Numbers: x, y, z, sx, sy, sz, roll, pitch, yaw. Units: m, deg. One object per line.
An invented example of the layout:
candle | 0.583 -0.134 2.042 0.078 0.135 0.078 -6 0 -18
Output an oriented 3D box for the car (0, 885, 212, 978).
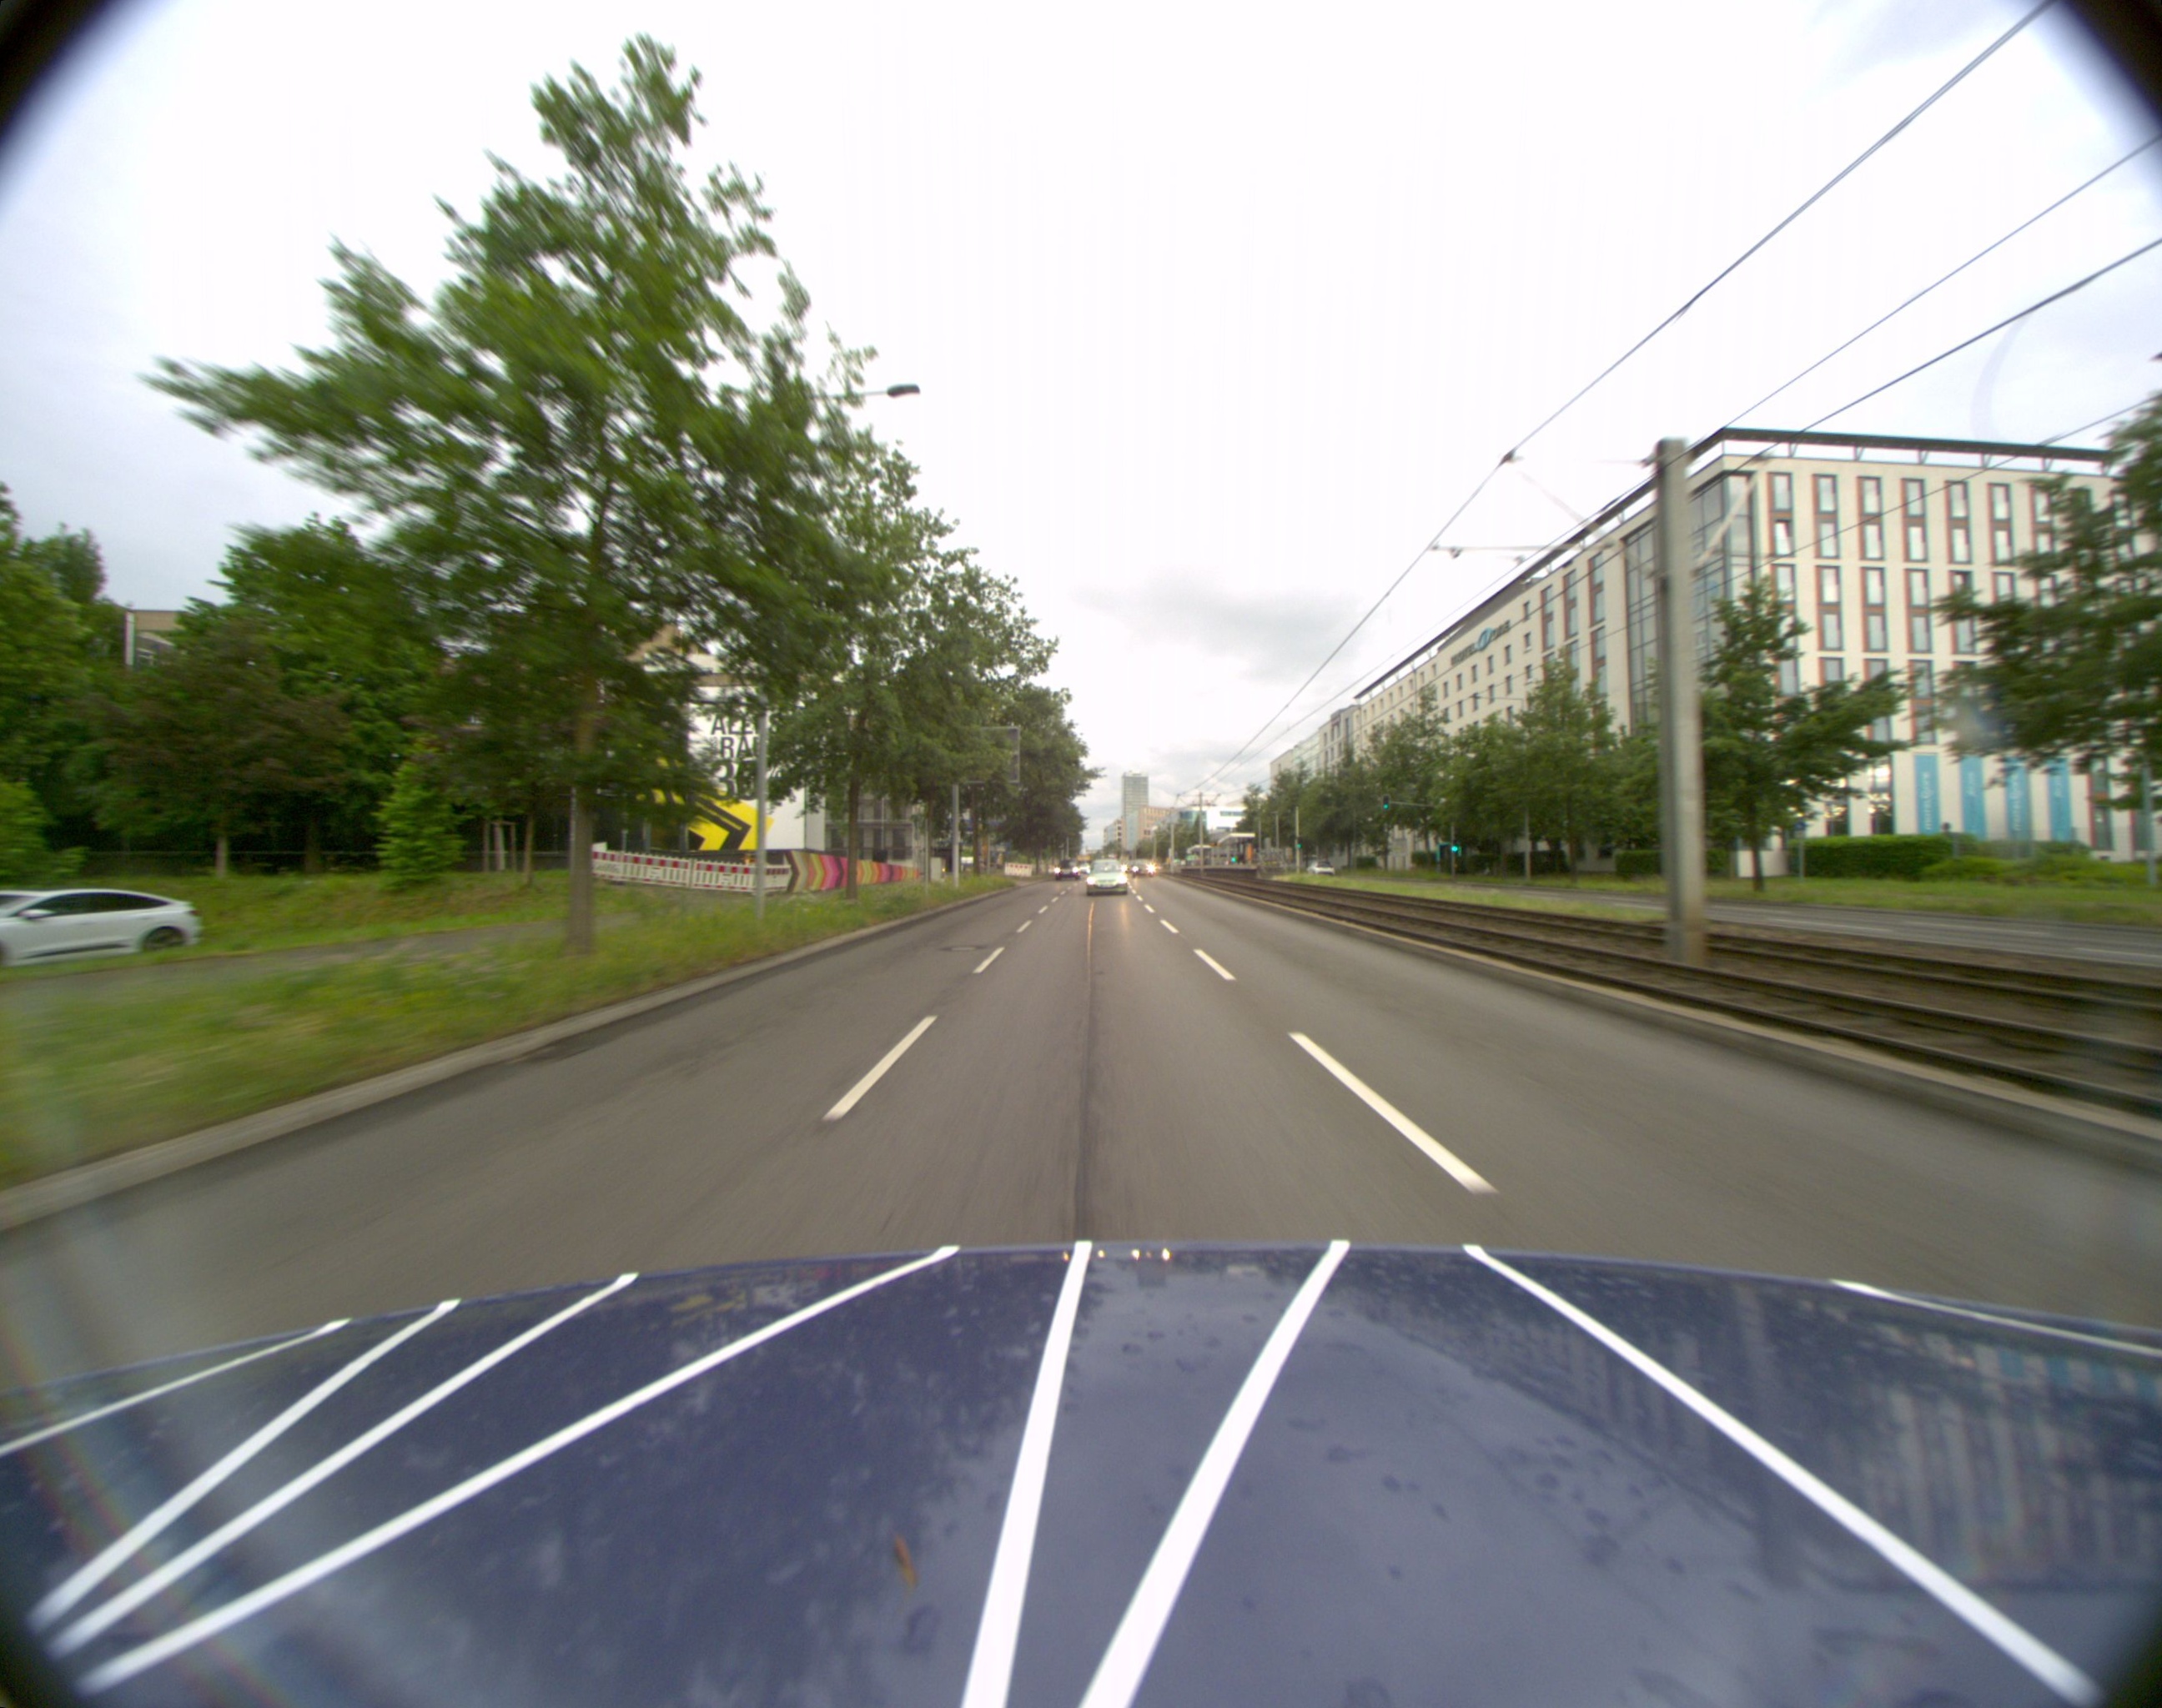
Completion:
car | -20.040 1.485 14.501 1.702 1.476 4.461 -3 1 0

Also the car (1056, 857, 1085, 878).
car | -0.780 1.090 60.161 1.828 1.599 4.117 -2 -2 5

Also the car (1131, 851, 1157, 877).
car | 5.278 0.776 63.301 1.998 2.002 4.001 -3 1 5

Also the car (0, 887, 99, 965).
car | -22.590 1.527 14.961 1.702 1.476 3.641 -3 1 0

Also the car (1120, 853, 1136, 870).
car | 5.622 0.917 90.797 1.860 1.798 4.116 -2 -2 4

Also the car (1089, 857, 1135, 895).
car | 1.404 0.936 33.069 1.828 1.499 4.116 -2 -1 4

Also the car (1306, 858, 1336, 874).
car | 21.722 1.092 68.822 1.701 1.356 3.818 2 0 4

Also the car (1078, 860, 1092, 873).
car | 0.633 1.847 113.450 1.860 1.798 4.116 -2 -2 3
